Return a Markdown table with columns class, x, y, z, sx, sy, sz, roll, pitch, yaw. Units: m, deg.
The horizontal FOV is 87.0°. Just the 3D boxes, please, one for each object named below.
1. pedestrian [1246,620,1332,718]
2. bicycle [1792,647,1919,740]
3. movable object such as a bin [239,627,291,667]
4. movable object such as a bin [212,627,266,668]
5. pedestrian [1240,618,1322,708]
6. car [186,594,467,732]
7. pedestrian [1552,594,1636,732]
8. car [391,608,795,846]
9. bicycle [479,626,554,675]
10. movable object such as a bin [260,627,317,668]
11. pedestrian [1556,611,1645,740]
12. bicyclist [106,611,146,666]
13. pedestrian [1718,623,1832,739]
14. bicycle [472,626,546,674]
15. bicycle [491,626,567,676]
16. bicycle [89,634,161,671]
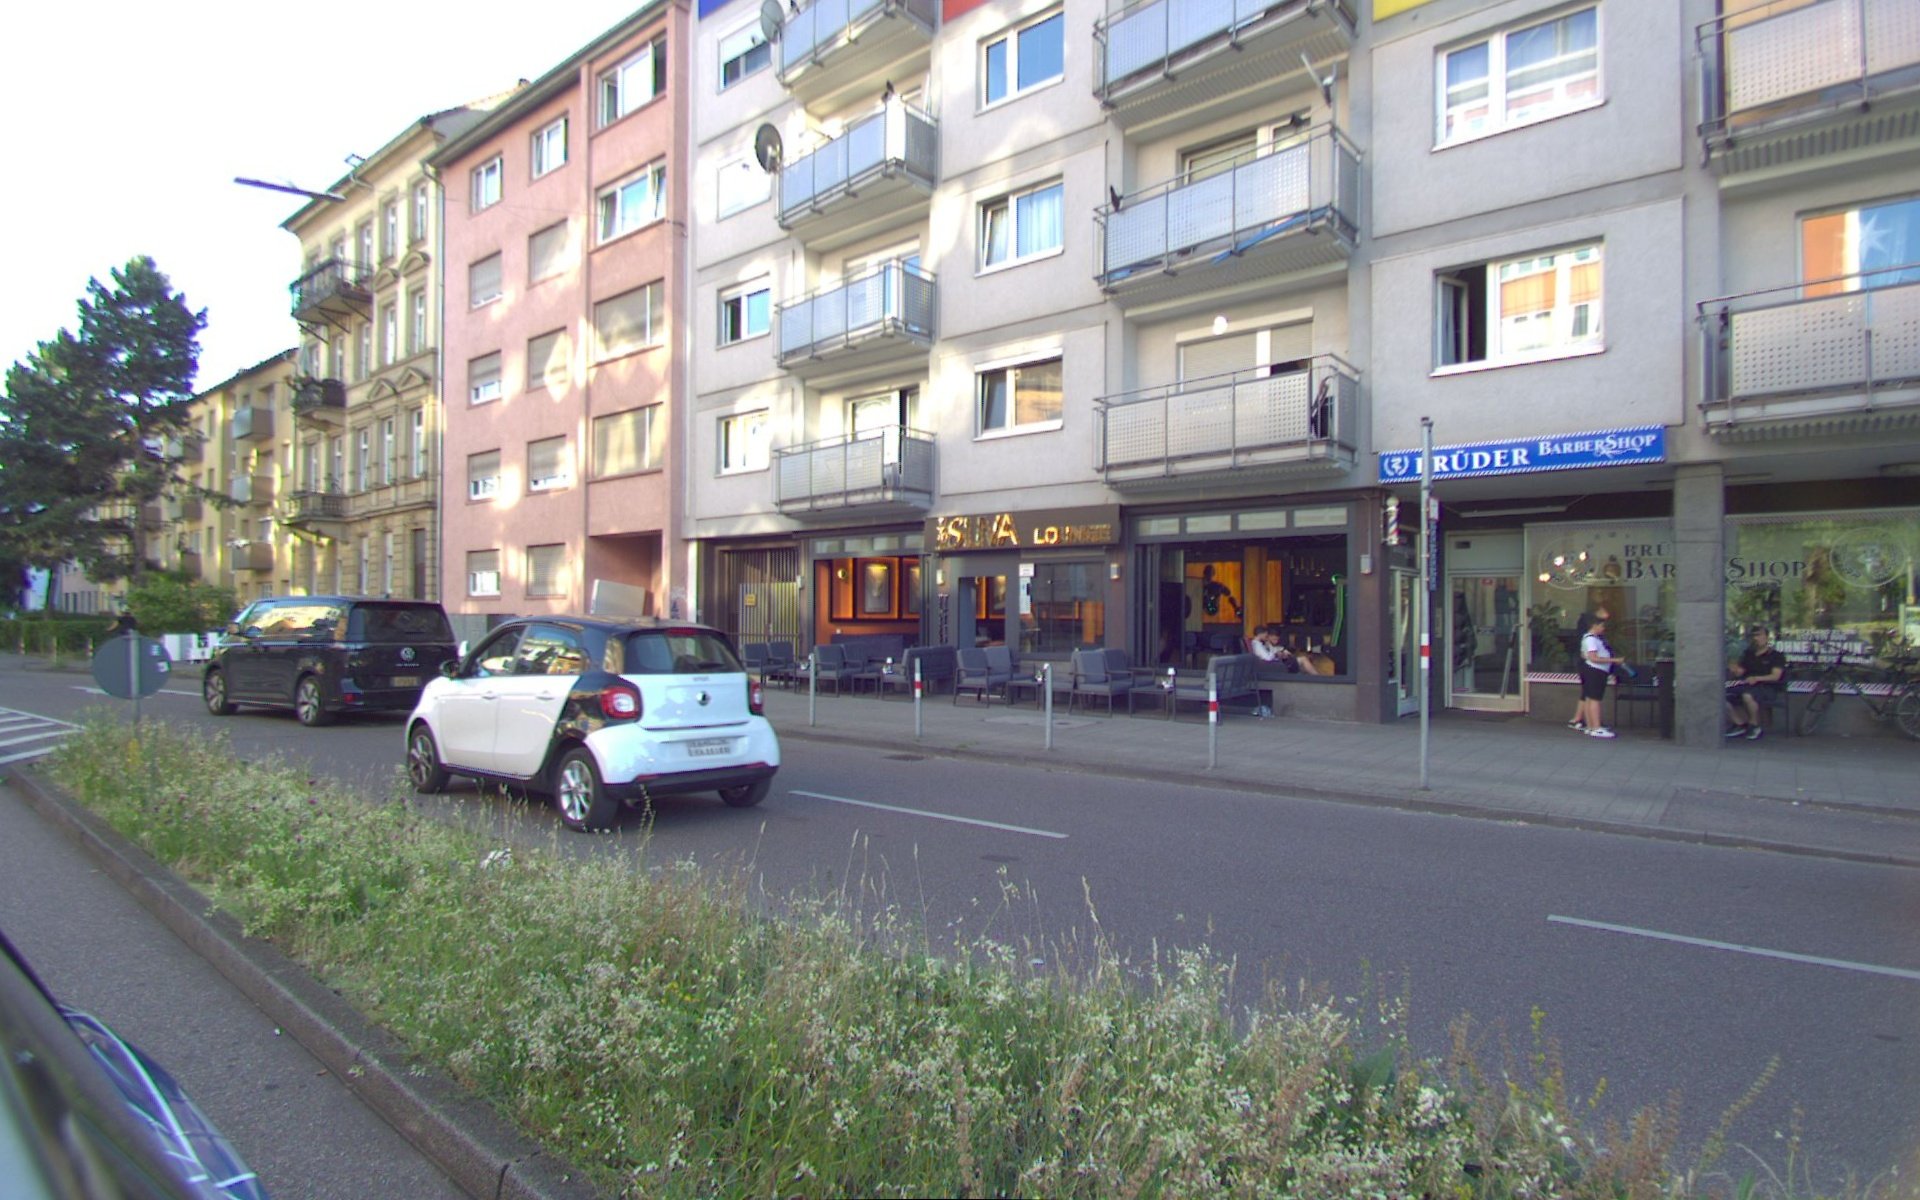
| class | x | y | z | sx | sy | sz | roll | pitch | yaw |
| --- | --- | --- | --- | --- | --- | --- | --- | --- | --- |
| pedestrian | 4.760 | 0.972 | 14.653 | 0.882 | 1.357 | 0.961 | -1 | -2 | 40 |
| bicycle | 10.761 | 1.074 | 11.683 | 1.691 | 1.006 | 0.620 | 0 | -1 | 32 |
| movable object such as a bin | -22.071 | 1.490 | 32.165 | 0.837 | 1.242 | 1.193 | 0 | -1 | 0 |
| movable object such as a bin | -22.940 | 1.501 | 32.221 | 0.837 | 1.242 | 1.193 | 0 | -1 | 0 |
| pedestrian | 5.059 | 0.968 | 15.967 | 0.974 | 1.357 | 0.871 | -1 | -2 | 40 |
| car | -9.916 | 0.908 | 15.739 | 4.686 | 1.868 | 1.875 | -1 | -2 | 33 |
| pedestrian | 7.929 | 0.775 | 12.676 | 0.650 | 1.685 | 0.625 | 0 | -1 | 5 |
| car | -3.104 | 0.880 | 8.333 | 3.400 | 1.554 | 1.576 | -1 | -3 | 39 |
| bicycle | -11.415 | 1.276 | 26.078 | 0.473 | 1.200 | 1.758 | -1 | -2 | 38 |
| movable object such as a bin | -21.143 | 1.476 | 31.882 | 0.916 | 1.242 | 1.292 | 0 | -1 | 0 |
| pedestrian | 7.560 | 0.871 | 11.973 | 0.650 | 1.478 | 0.625 | 0 | -1 | 5 |
| bicyclist | -24.547 | 1.129 | 29.793 | 0.853 | 1.581 | 0.542 | -1 | -1 | 20 |
| pedestrian | 9.582 | 0.936 | 11.918 | 0.798 | 1.323 | 0.626 | 0 | -1 | -3 |
| bicycle | -11.805 | 1.282 | 26.515 | 0.473 | 1.200 | 1.758 | -1 | -2 | 38 |
| bicycle | -10.872 | 1.262 | 25.586 | 0.473 | 1.200 | 1.758 | -1 | -2 | 38 |
| bicycle | -24.593 | 1.542 | 29.804 | 2.270 | 1.045 | 0.542 | -1 | -1 | 20 |
